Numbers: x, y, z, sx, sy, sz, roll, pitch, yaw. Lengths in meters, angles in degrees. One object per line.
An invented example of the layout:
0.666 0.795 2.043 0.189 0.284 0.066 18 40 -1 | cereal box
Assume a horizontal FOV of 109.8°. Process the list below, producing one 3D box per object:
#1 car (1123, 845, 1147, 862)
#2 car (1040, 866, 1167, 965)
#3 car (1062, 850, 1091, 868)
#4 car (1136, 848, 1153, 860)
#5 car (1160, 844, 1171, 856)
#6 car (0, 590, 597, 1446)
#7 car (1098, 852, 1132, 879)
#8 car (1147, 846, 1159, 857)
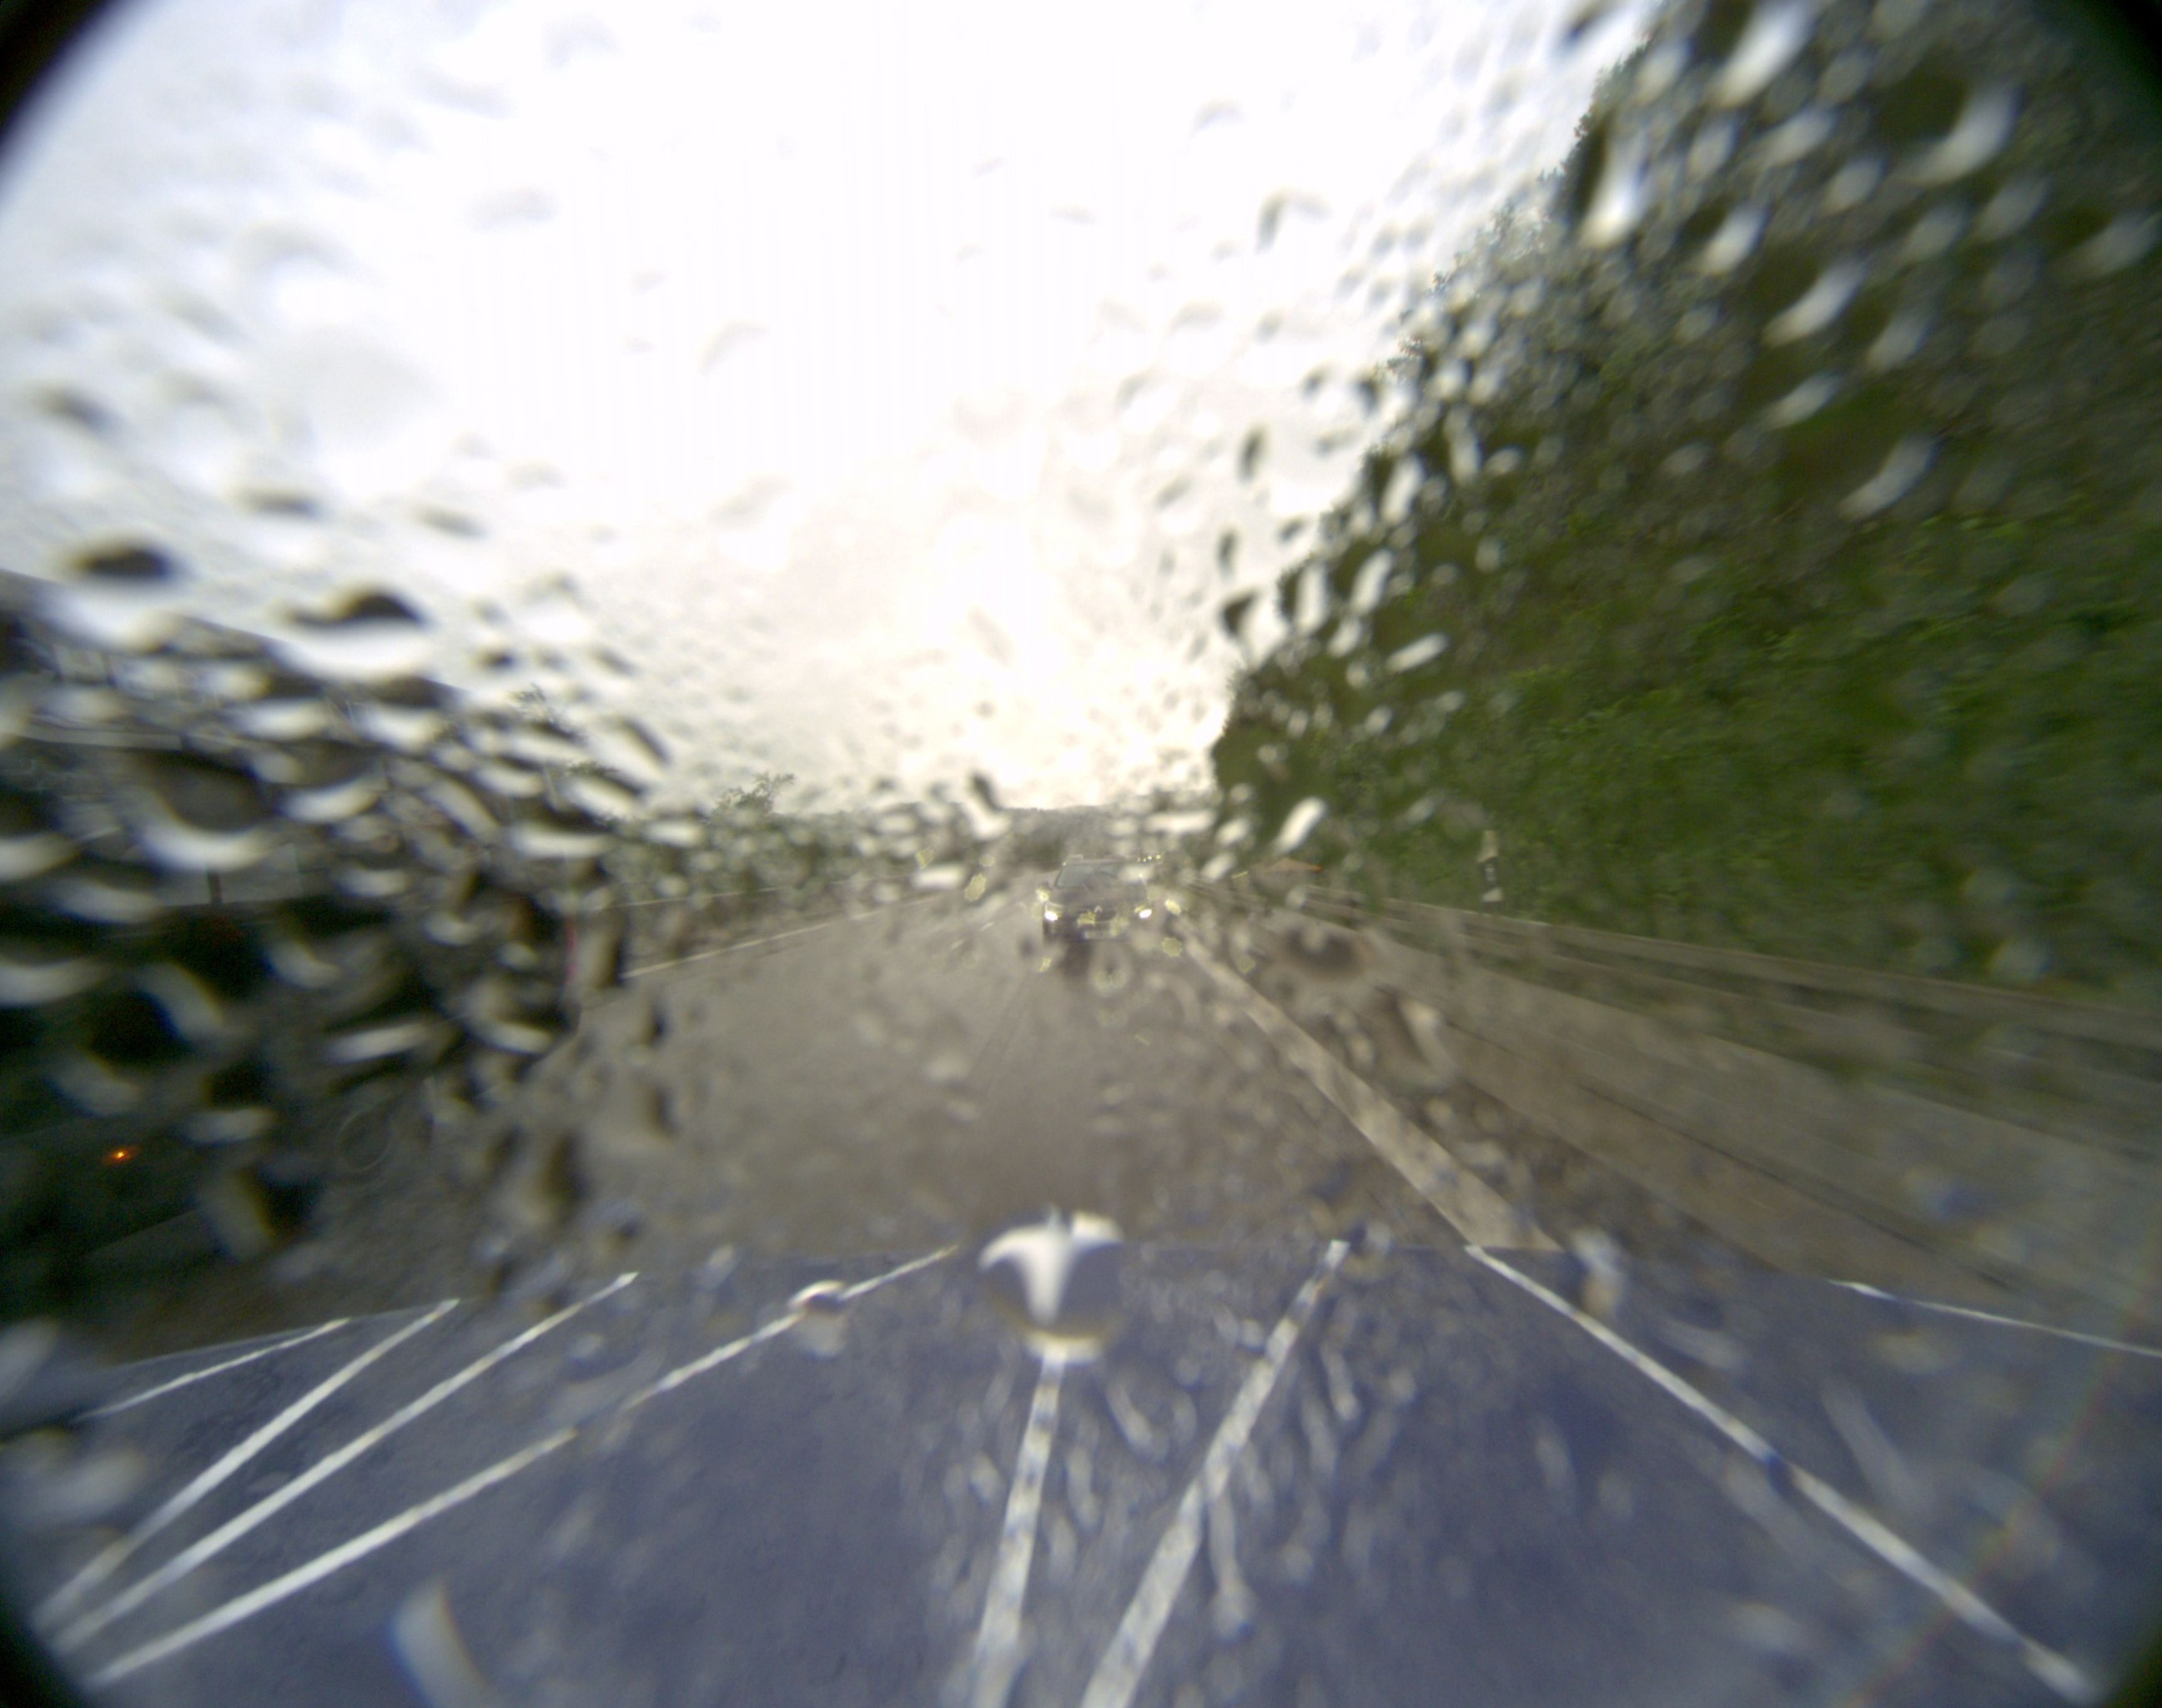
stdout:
5.176 -0.068 71.988 1.905 1.545 4.566 -3 0 7 | car
0.424 0.950 13.351 1.839 1.316 4.135 -2 0 2 | car
-0.342 0.434 66.801 1.990 1.407 4.566 -2 0 6 | car
7.641 0.031 91.189 1.990 1.316 4.144 -2 0 4 | car
14.145 -0.732 126.781 1.590 1.895 3.755 -2 1 8 | car
-4.160 0.495 1.448 1.998 2.479 6.705 -2 0 1 | car
1.998 0.629 43.518 1.712 1.316 3.946 -3 0 5 | car
10.556 -0.320 111.588 1.657 1.535 3.665 -2 0 7 | car
